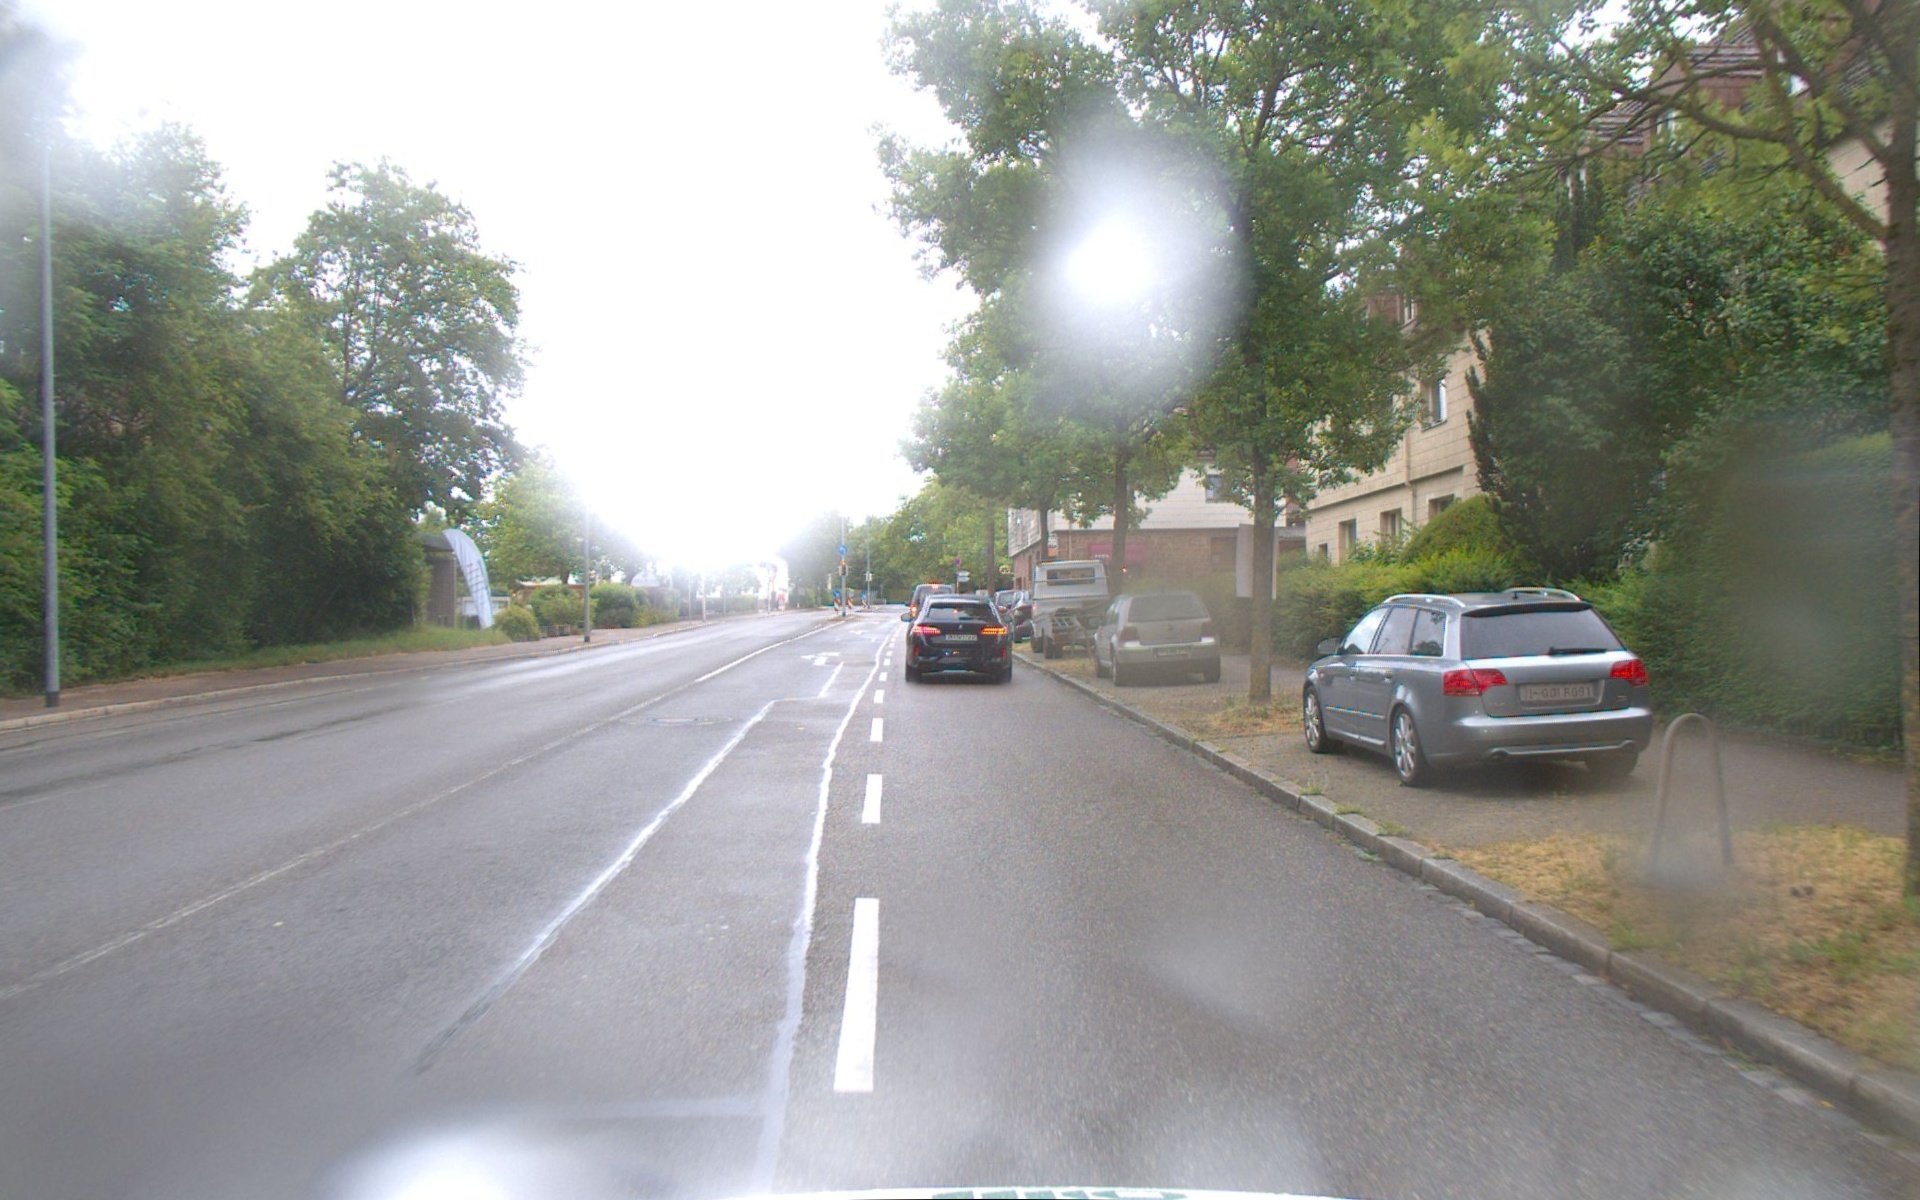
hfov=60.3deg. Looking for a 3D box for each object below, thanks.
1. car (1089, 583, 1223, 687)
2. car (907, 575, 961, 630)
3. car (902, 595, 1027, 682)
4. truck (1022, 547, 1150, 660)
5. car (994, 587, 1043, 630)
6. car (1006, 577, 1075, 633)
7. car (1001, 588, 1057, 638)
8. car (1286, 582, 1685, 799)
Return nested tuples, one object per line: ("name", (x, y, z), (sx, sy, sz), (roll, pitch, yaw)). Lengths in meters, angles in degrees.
("car", (3.161, 0.514, 27.320), (1.569, 1.461, 4.021), (-3, 1, -1))
("car", (-0.953, 0.066, 57.880), (1.748, 1.849, 3.998), (0, 0, -3))
("car", (0.004, 0.655, 30.267), (2.023, 1.472, 4.480), (0, 0, -3))
("truck", (2.792, 0.051, 38.259), (2.039, 2.260, 6.498), (-4, 0, -3))
("car", (2.270, 0.322, 65.187), (1.552, 1.516, 3.625), (-4, 1, -3))
("car", (2.370, 0.138, 49.605), (1.680, 1.524, 4.182), (-3, 0, -1))
("car", (2.283, 0.411, 55.686), (1.572, 1.497, 3.855), (-4, 0, -1))
("car", (4.118, 0.606, 13.794), (1.654, 1.413, 4.497), (-3, 1, -3))
